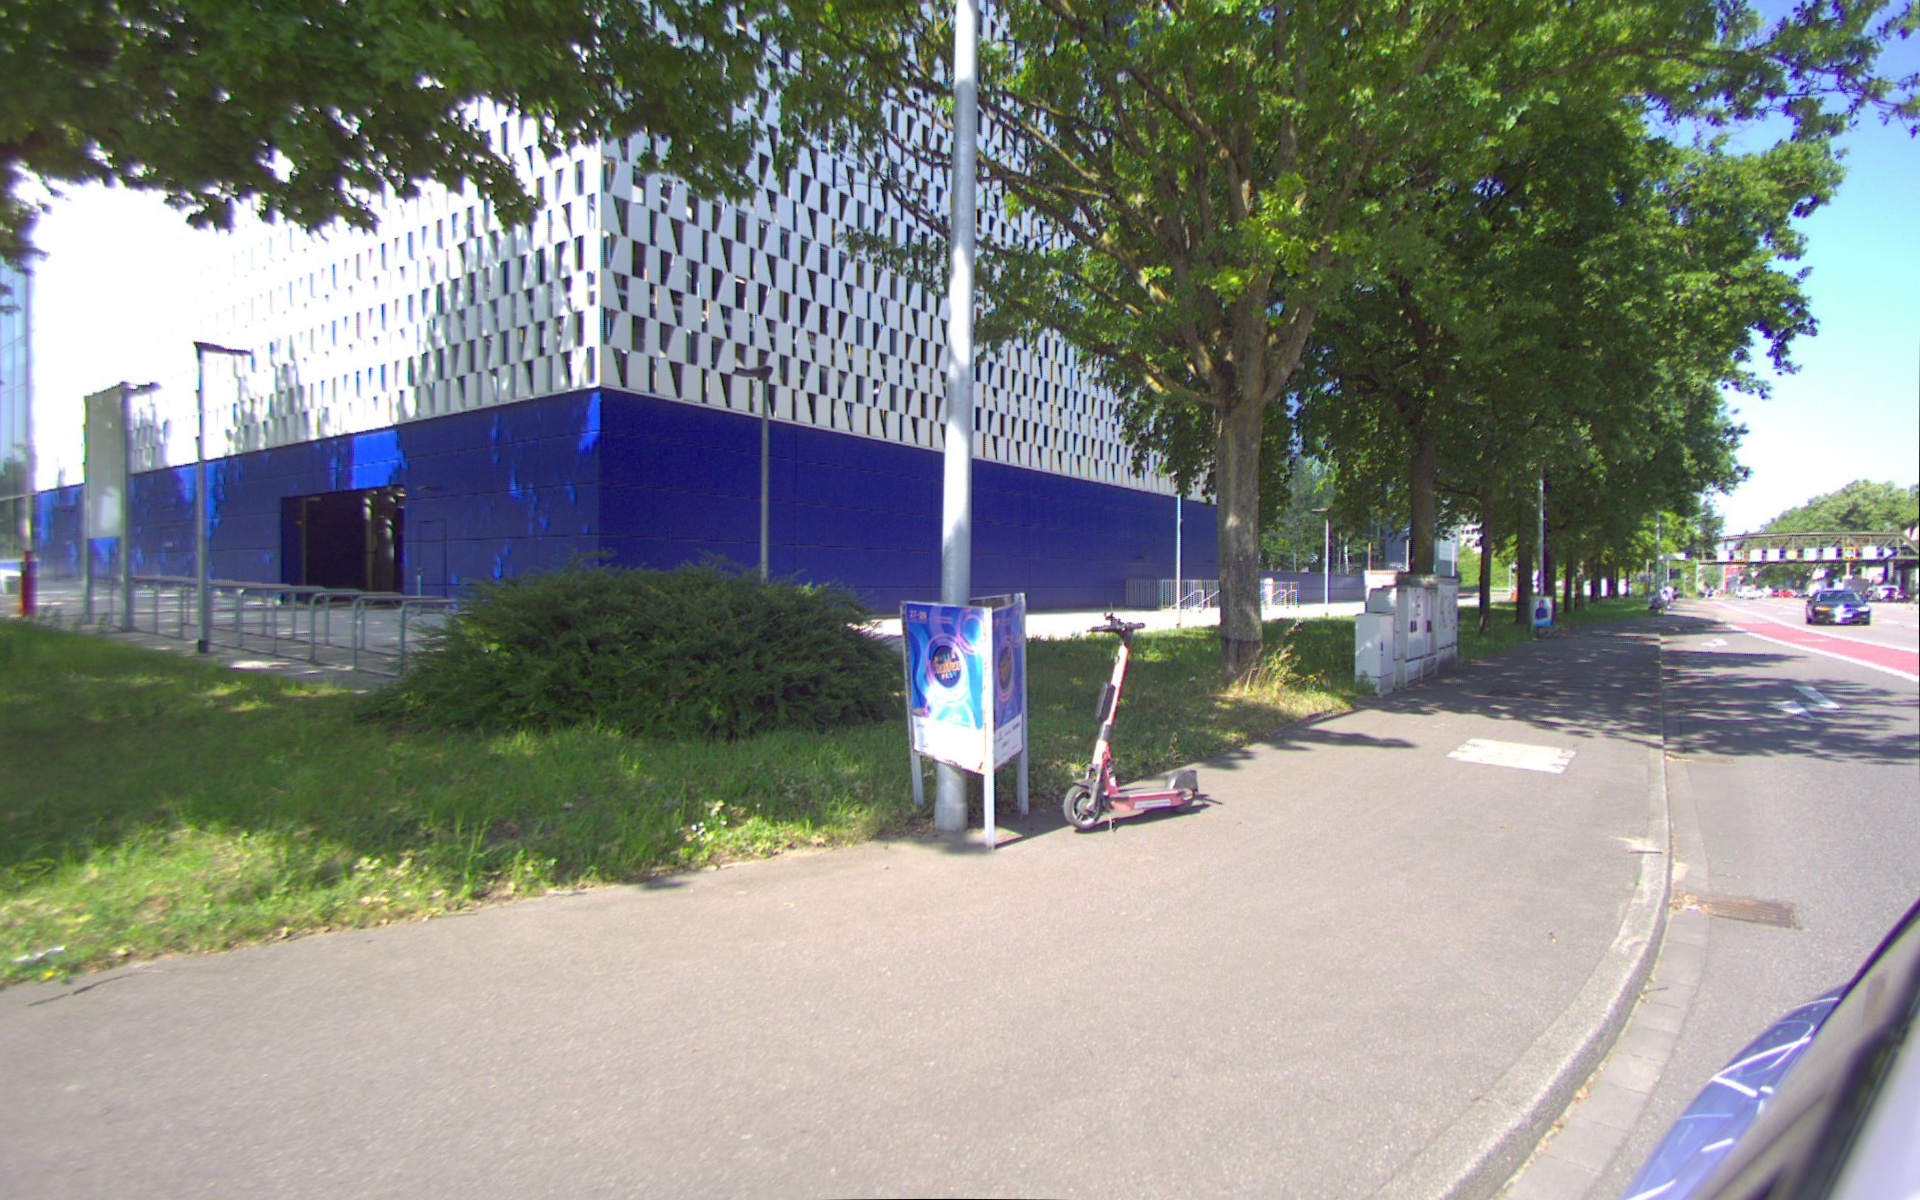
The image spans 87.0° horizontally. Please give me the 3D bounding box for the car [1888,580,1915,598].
[{"bbox_3d":[110.266,-1.266,118.544,1.991,2.039,5.268,2,1,40],"label":"car"}]

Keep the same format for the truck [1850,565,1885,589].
[{"bbox_3d":[122.068,-3.047,136.216,2.331,3.127,6.987,1,0,32],"label":"truck"}]

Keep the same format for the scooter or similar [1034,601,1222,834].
[{"bbox_3d":[1.026,0.636,6.033,1.288,1.249,0.352,0,1,-41],"label":"scooter or similar"}]

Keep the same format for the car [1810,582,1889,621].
[{"bbox_3d":[37.201,0.025,42.436,1.898,1.539,4.321,1,1,34],"label":"car"}]

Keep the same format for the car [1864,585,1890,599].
[{"bbox_3d":[117.722,-1.019,129.943,1.979,1.711,4.231,3,1,36],"label":"car"}]

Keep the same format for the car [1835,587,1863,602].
[{"bbox_3d":[99.629,-0.618,113.410,1.837,1.481,4.935,4,2,36],"label":"car"}]

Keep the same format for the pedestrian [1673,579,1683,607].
[{"bbox_3d":[47.989,-0.495,67.653,0.533,1.865,0.718,1,0,36],"label":"pedestrian"}]

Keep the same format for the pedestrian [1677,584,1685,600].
[{"bbox_3d":[70.068,-0.778,98.361,0.645,1.623,0.835,1,0,37],"label":"pedestrian"}]

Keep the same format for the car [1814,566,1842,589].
[{"bbox_3d":[115.323,-2.949,134.541,1.987,2.839,6.852,3,2,34],"label":"car"}]

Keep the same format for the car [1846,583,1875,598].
[{"bbox_3d":[94.821,-0.975,106.580,1.778,1.432,3.949,3,2,36],"label":"car"}]

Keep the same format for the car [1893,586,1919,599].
[{"bbox_3d":[105.126,-0.824,112.154,1.988,1.431,4.621,1,1,36],"label":"car"}]

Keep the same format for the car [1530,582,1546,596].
[{"bbox_3d":[77.296,-1.494,135.294,1.896,1.852,4.135,1,1,30],"label":"car"}]
